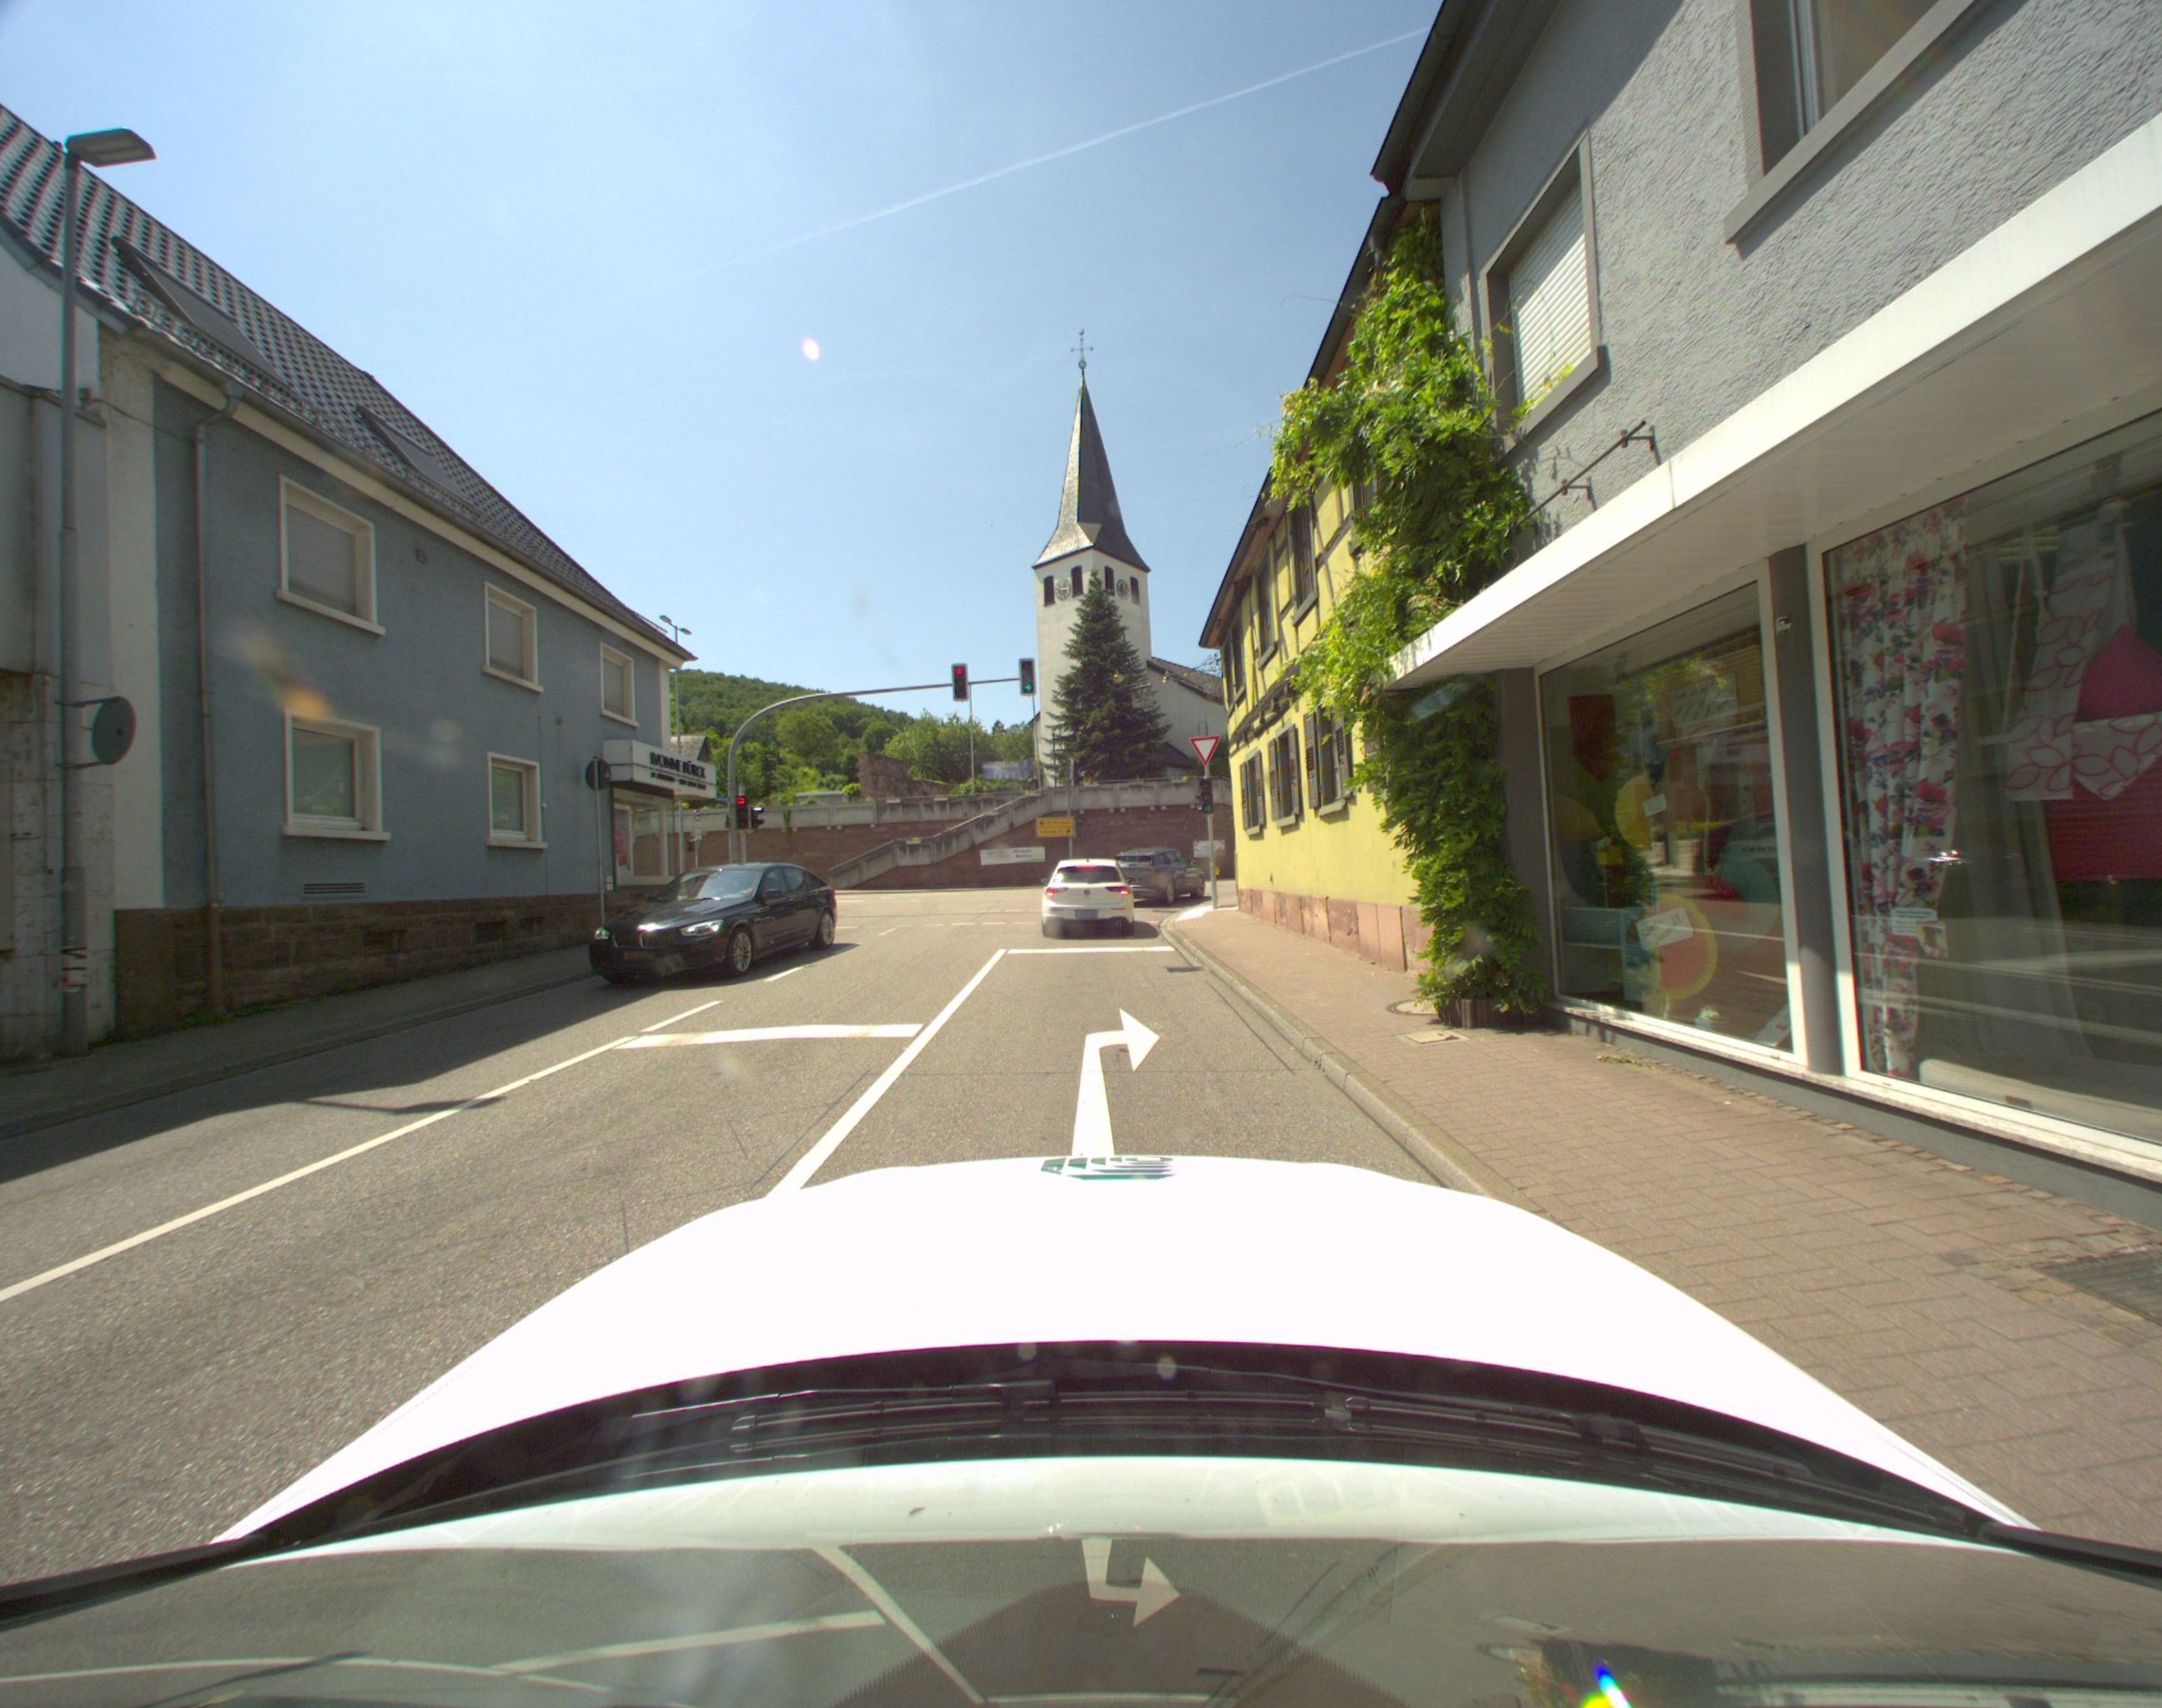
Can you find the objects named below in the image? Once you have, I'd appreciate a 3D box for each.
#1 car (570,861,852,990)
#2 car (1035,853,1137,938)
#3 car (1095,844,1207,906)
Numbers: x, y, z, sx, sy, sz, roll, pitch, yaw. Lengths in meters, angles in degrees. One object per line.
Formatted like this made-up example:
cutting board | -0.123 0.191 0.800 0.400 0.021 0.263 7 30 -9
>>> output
car | -5.360 0.925 12.687 1.788 1.487 4.803 -4 -1 5
car | 0.213 0.771 16.694 1.775 1.458 3.867 -3 -1 4
car | 2.212 0.571 24.444 1.931 1.582 4.351 -2 1 25
